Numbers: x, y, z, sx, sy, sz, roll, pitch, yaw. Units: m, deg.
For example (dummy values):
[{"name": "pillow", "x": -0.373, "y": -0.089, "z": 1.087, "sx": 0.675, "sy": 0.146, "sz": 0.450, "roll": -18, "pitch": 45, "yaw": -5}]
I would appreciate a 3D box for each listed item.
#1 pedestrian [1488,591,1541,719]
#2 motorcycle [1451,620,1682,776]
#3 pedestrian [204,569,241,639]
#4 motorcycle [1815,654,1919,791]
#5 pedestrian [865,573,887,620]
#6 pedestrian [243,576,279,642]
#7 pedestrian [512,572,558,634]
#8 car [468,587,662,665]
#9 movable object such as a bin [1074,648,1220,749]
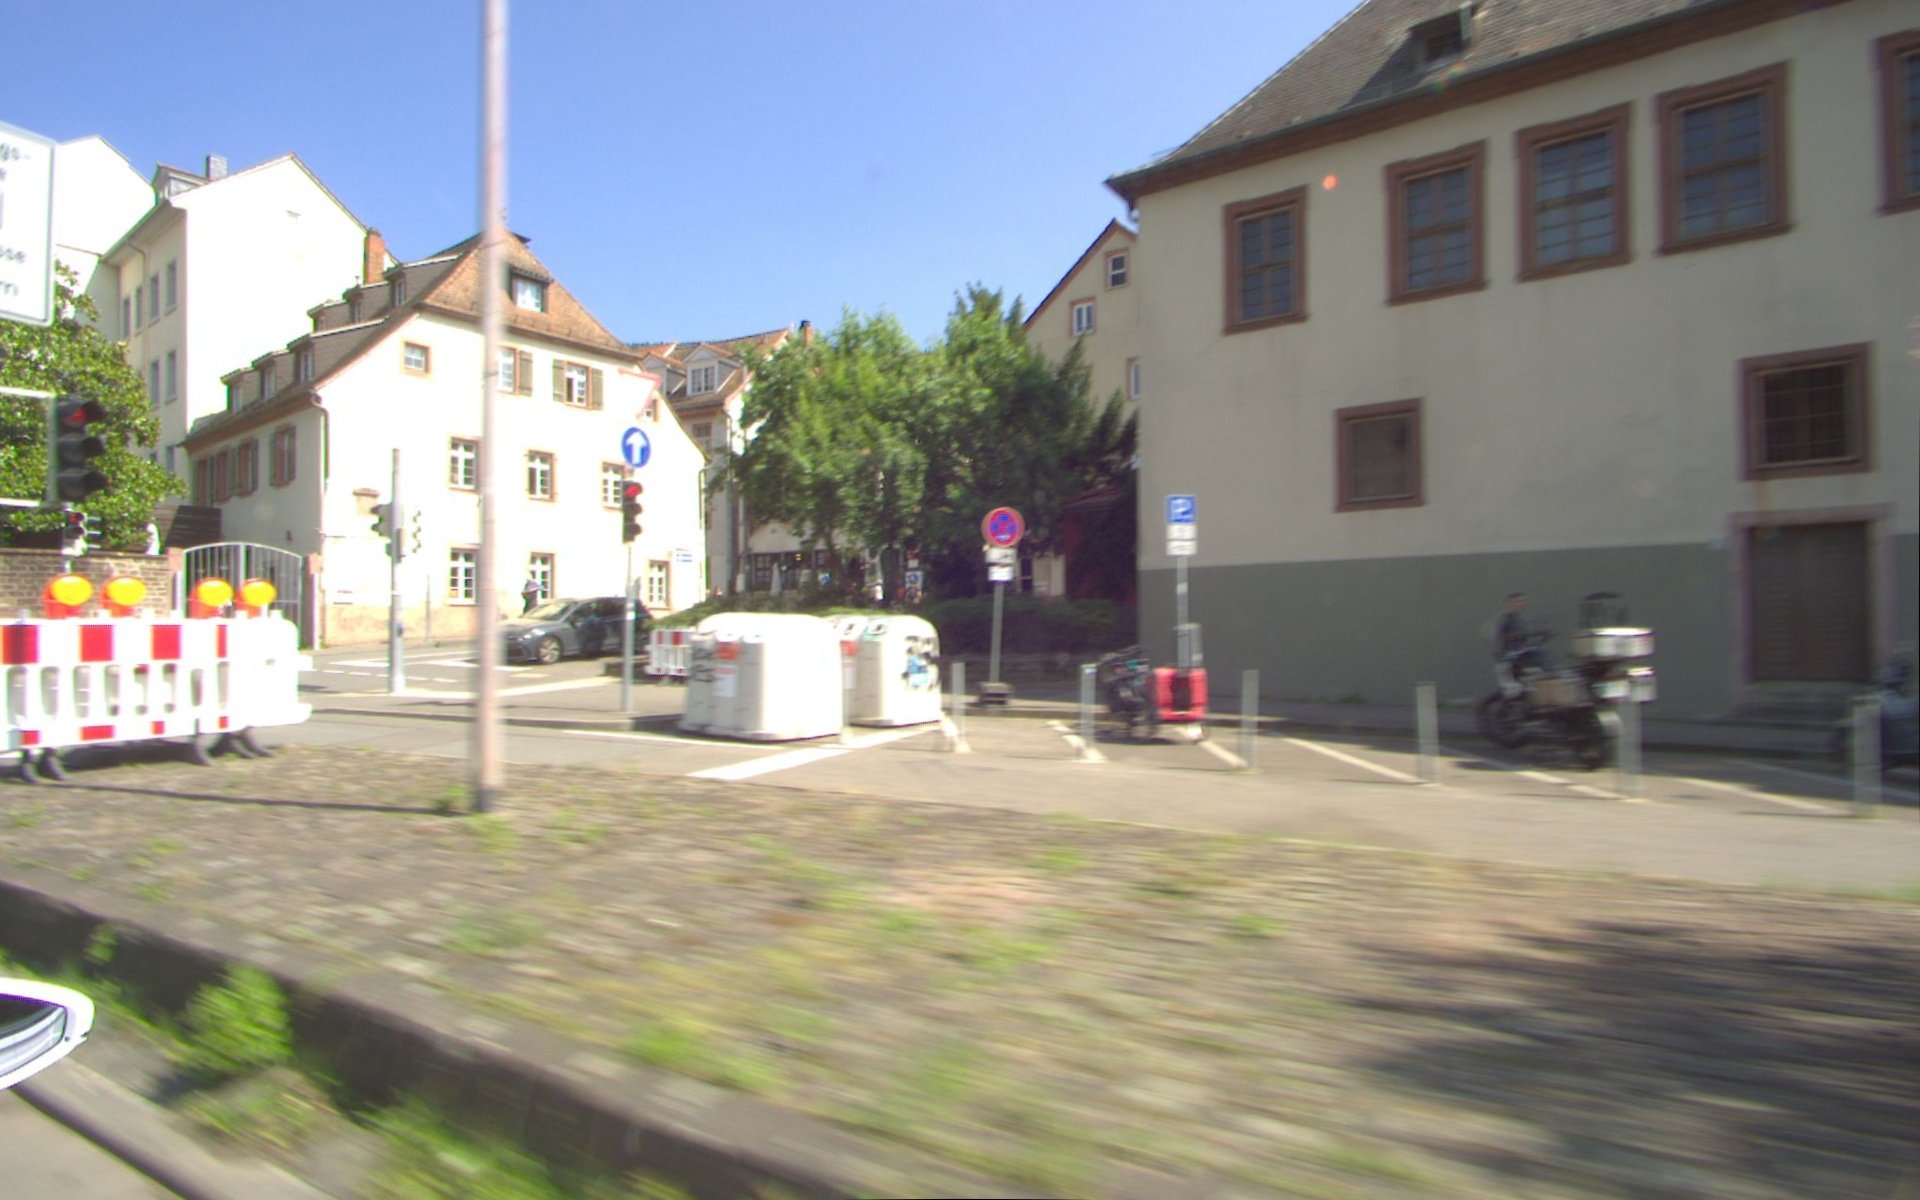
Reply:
[{"name": "pedestrian", "x": 8.199, "y": 0.813, "z": 14.807, "sx": 0.610, "sy": 1.846, "sz": 0.493, "roll": -2, "pitch": -1, "yaw": 33}, {"name": "motorcycle", "x": 6.665, "y": 1.013, "z": 11.237, "sx": 1.033, "sy": 1.552, "sz": 2.498, "roll": 0, "pitch": -1, "yaw": -1}, {"name": "pedestrian", "x": -18.636, "y": 0.104, "z": 25.310, "sx": 0.716, "sy": 1.728, "sz": 0.703, "roll": 0, "pitch": 0, "yaw": -35}, {"name": "motorcycle", "x": 9.430, "y": 1.180, "z": 9.582, "sx": 0.616, "sy": 1.268, "sz": 2.237, "roll": 0, "pitch": -1, "yaw": 1}, {"name": "pedestrian", "x": -3.100, "y": -0.141, "z": 36.977, "sx": 0.654, "sy": 1.705, "sz": 0.451, "roll": 1, "pitch": 4, "yaw": 35}, {"name": "pedestrian", "x": -18.613, "y": 0.247, "z": 26.678, "sx": 0.698, "sy": 1.728, "sz": 0.722, "roll": 0, "pitch": 0, "yaw": -30}, {"name": "pedestrian", "x": -12.719, "y": 0.067, "z": 29.961, "sx": 0.852, "sy": 1.818, "sz": 0.920, "roll": 1, "pitch": 3, "yaw": 35}, {"name": "car", "x": -9.205, "y": 0.524, "z": 23.605, "sx": 1.833, "sy": 1.507, "sz": 3.979, "roll": 4, "pitch": 4, "yaw": 31}, {"name": "movable object such as a bin", "x": 2.422, "y": 1.255, "z": 13.503, "sx": 1.234, "sy": 1.124, "sz": 2.956, "roll": 1, "pitch": -1, "yaw": -4}]
